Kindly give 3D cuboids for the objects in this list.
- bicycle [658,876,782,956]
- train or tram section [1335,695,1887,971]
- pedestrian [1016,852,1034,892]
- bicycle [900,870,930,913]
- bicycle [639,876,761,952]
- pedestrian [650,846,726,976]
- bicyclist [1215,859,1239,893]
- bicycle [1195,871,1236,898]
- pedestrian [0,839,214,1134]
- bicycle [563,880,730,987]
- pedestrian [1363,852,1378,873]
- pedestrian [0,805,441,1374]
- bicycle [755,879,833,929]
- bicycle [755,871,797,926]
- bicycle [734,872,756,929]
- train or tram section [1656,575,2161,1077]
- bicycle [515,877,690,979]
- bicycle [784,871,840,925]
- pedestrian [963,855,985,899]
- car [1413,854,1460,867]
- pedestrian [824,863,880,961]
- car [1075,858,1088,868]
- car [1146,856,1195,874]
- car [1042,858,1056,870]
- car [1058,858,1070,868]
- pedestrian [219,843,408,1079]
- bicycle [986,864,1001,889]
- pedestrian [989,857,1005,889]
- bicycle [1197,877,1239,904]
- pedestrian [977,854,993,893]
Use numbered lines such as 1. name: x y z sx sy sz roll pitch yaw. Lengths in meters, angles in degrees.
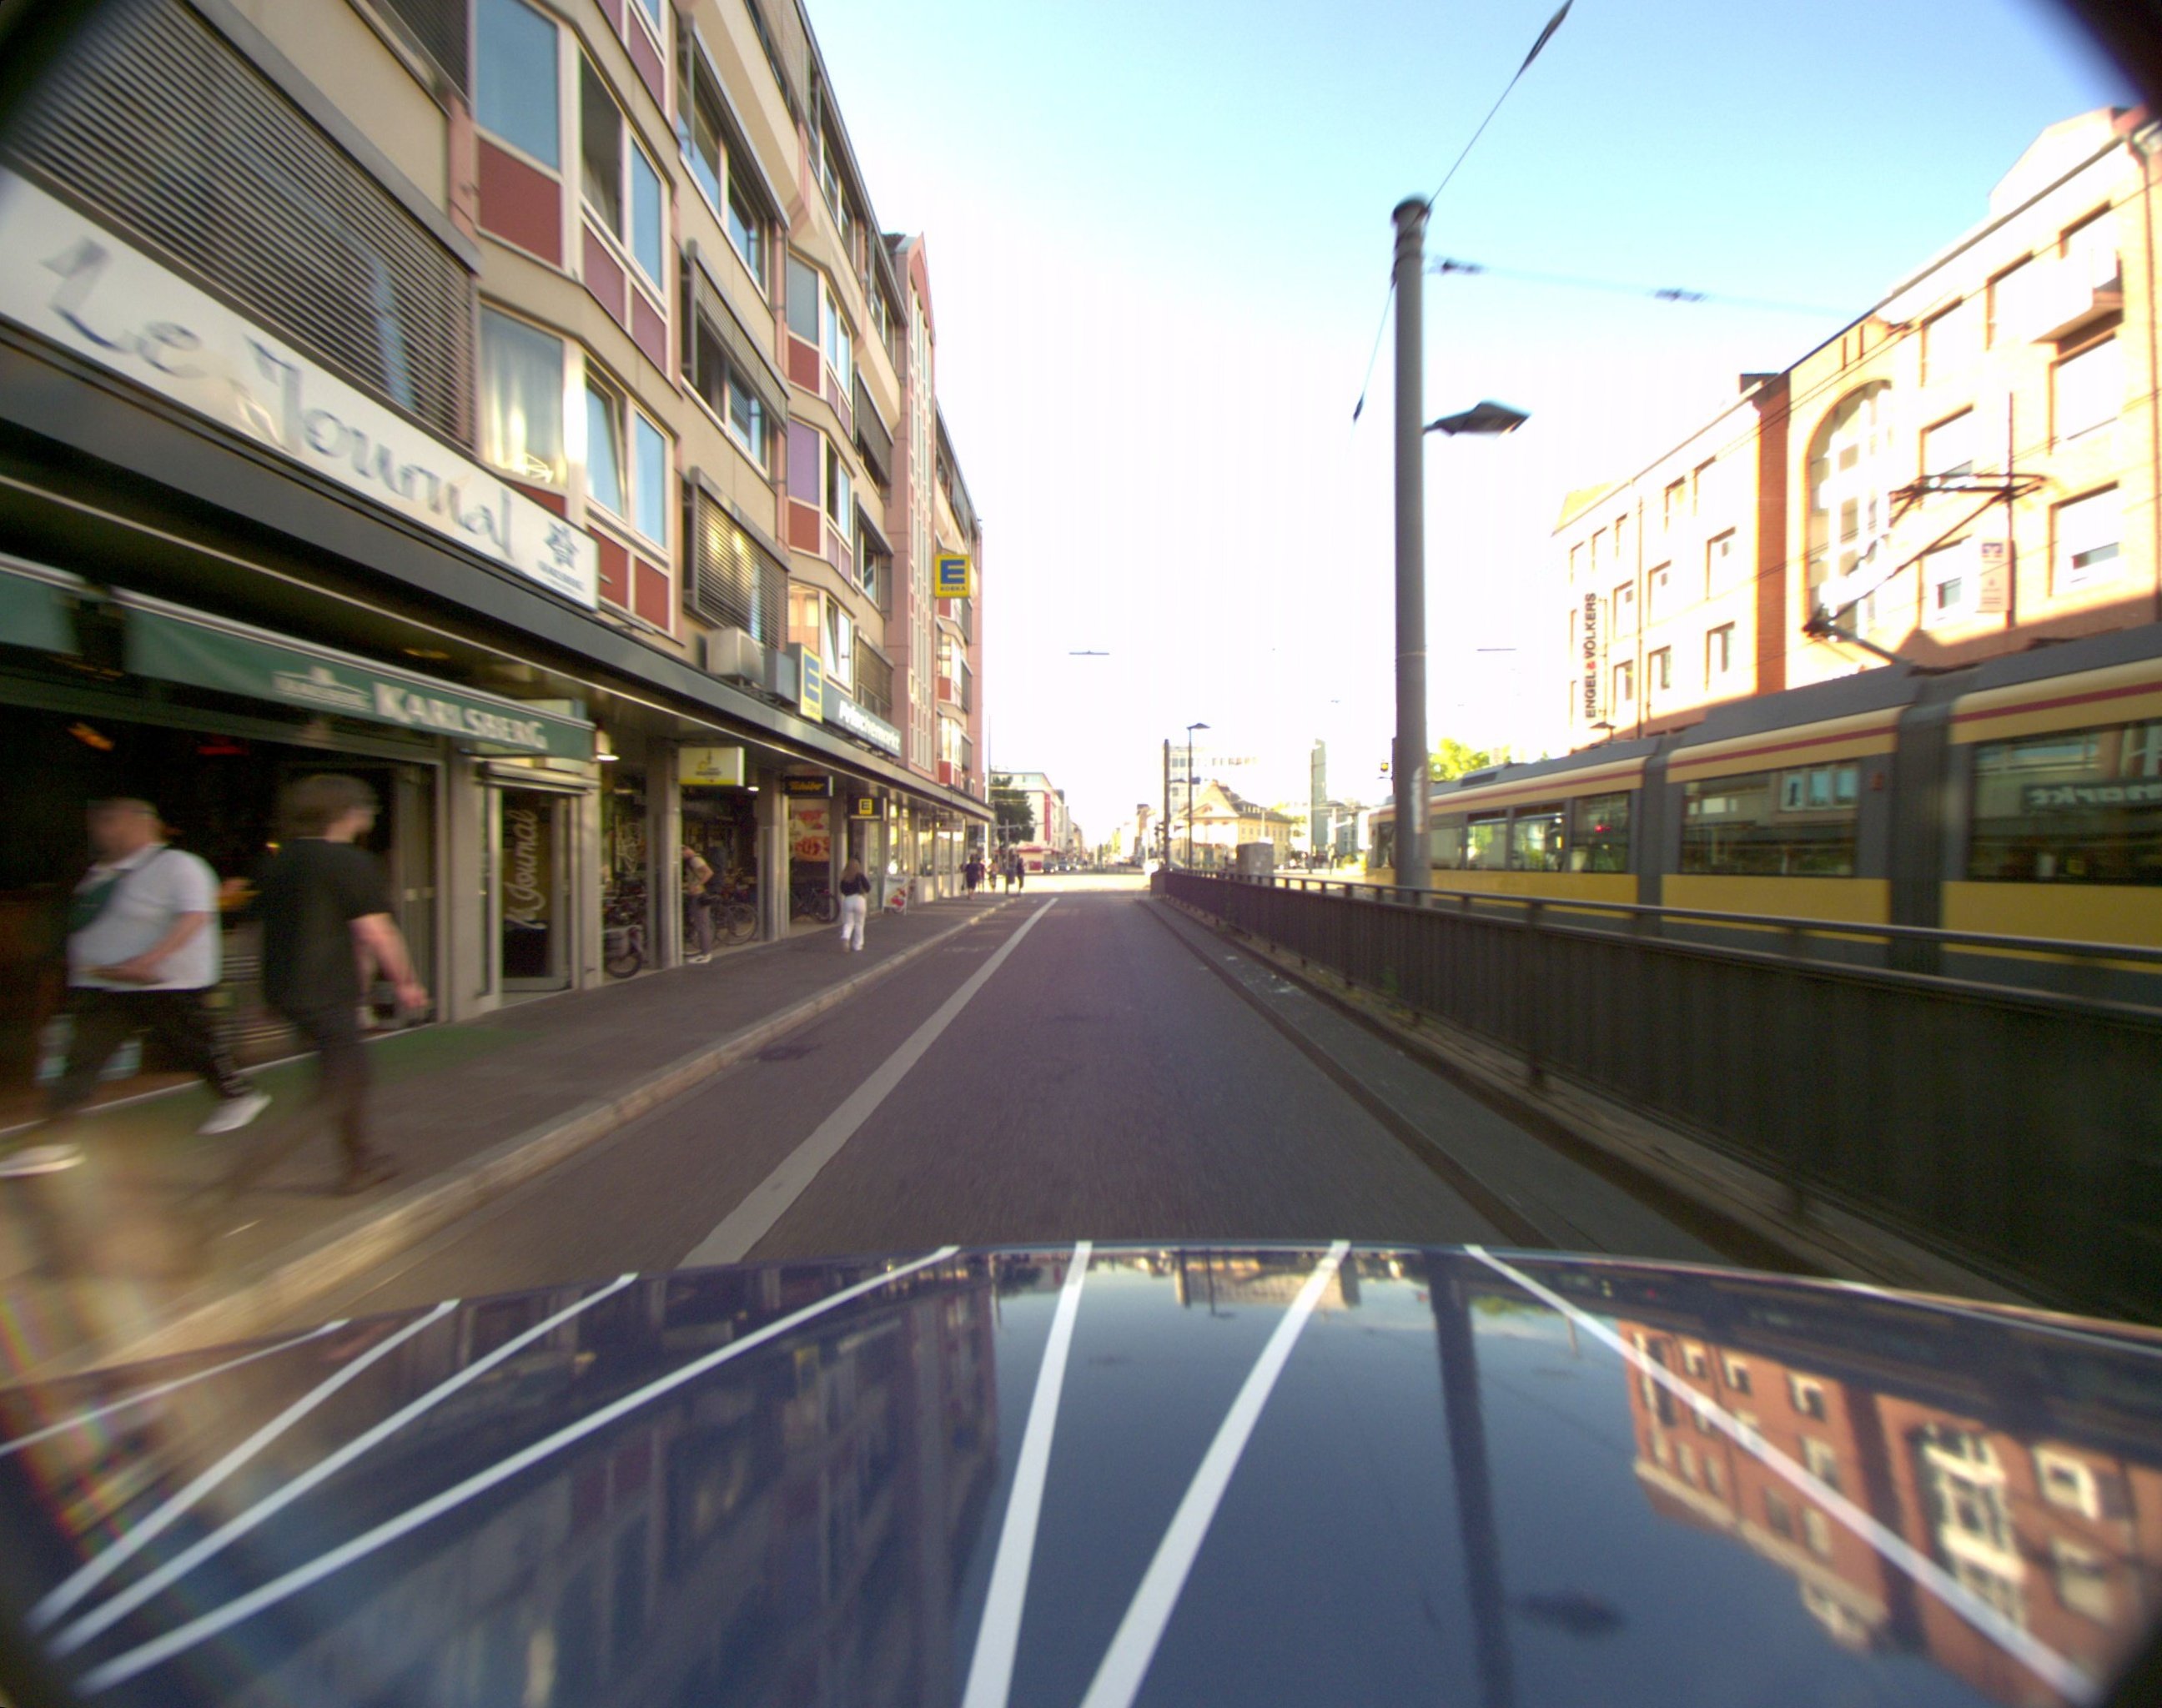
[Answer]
1. bicycle: -6.309 1.041 13.415 0.555 1.229 2.087 0 0 25
2. train or tram section: 9.496 -0.291 17.254 2.981 3.623 13.944 -2 0 1
3. pedestrian: -2.603 0.833 35.179 0.680 1.832 0.606 -2 1 -12
4. bicycle: -4.643 1.033 21.361 0.516 1.121 1.406 0 0 0
5. bicycle: -6.914 1.046 13.912 0.555 1.229 2.087 0 0 25
6. pedestrian: -5.379 0.765 10.432 0.789 1.711 0.590 2 1 -17
7. bicyclist: 5.872 0.878 30.649 0.750 1.372 0.901 -1 0 -4
8. bicycle: 5.457 1.229 30.782 1.592 1.027 0.418 -1 1 -5
9. pedestrian: -6.107 0.754 4.649 0.774 1.665 0.696 -1 0 0
10. bicycle: -5.876 1.024 10.449 0.470 1.244 2.087 0 0 25
11. pedestrian: 28.116 0.840 73.742 1.108 2.002 1.215 -2 1 31
12. pedestrian: -3.290 0.770 2.985 0.676 1.850 0.992 1 1 2
13. bicycle: -6.224 1.075 16.526 1.513 1.035 0.434 -1 -1 -2
14. bicycle: -7.051 0.993 17.531 0.423 1.193 1.477 -1 1 -41
15. bicycle: -7.528 1.007 17.058 0.423 1.193 1.479 -1 0 -23
16. train or tram section: 9.224 -0.273 2.117 2.981 3.623 16.487 -2 -1 1
17. bicycle: -6.823 1.002 10.992 0.575 1.246 2.119 -2 0 25
18. bicycle: -6.205 0.991 17.511 1.477 1.193 0.483 0 1 37
19. pedestrian: -3.870 0.824 27.587 0.709 1.604 0.495 0 1 0
20. car: 37.457 0.700 80.076 4.125 1.351 1.930 -1 0 -6
21. pedestrian: -3.728 0.922 12.408 0.667 1.512 0.789 2 0 -3
22. car: 0.032 1.457 128.059 1.999 1.683 3.999 0 0 -3
23. car: 7.719 0.963 65.921 2.004 1.496 3.989 -1 0 -38
24. car: -4.267 1.342 100.401 1.771 1.458 3.812 -1 0 -2
25. car: -2.417 1.269 107.577 1.771 1.458 3.812 -1 0 -2
26. pedestrian: -5.651 0.749 5.631 0.728 1.626 0.639 2 1 2
27. bicycle: -4.381 1.124 37.991 0.430 1.206 1.822 -2 0 -14
28. pedestrian: -4.257 0.939 38.532 0.655 1.597 0.595 -2 1 -13
29. bicycle: 5.479 1.453 30.325 1.592 1.015 0.418 -1 1 -5
30. pedestrian: -4.469 0.892 35.356 0.671 1.751 0.679 -2 1 -10
